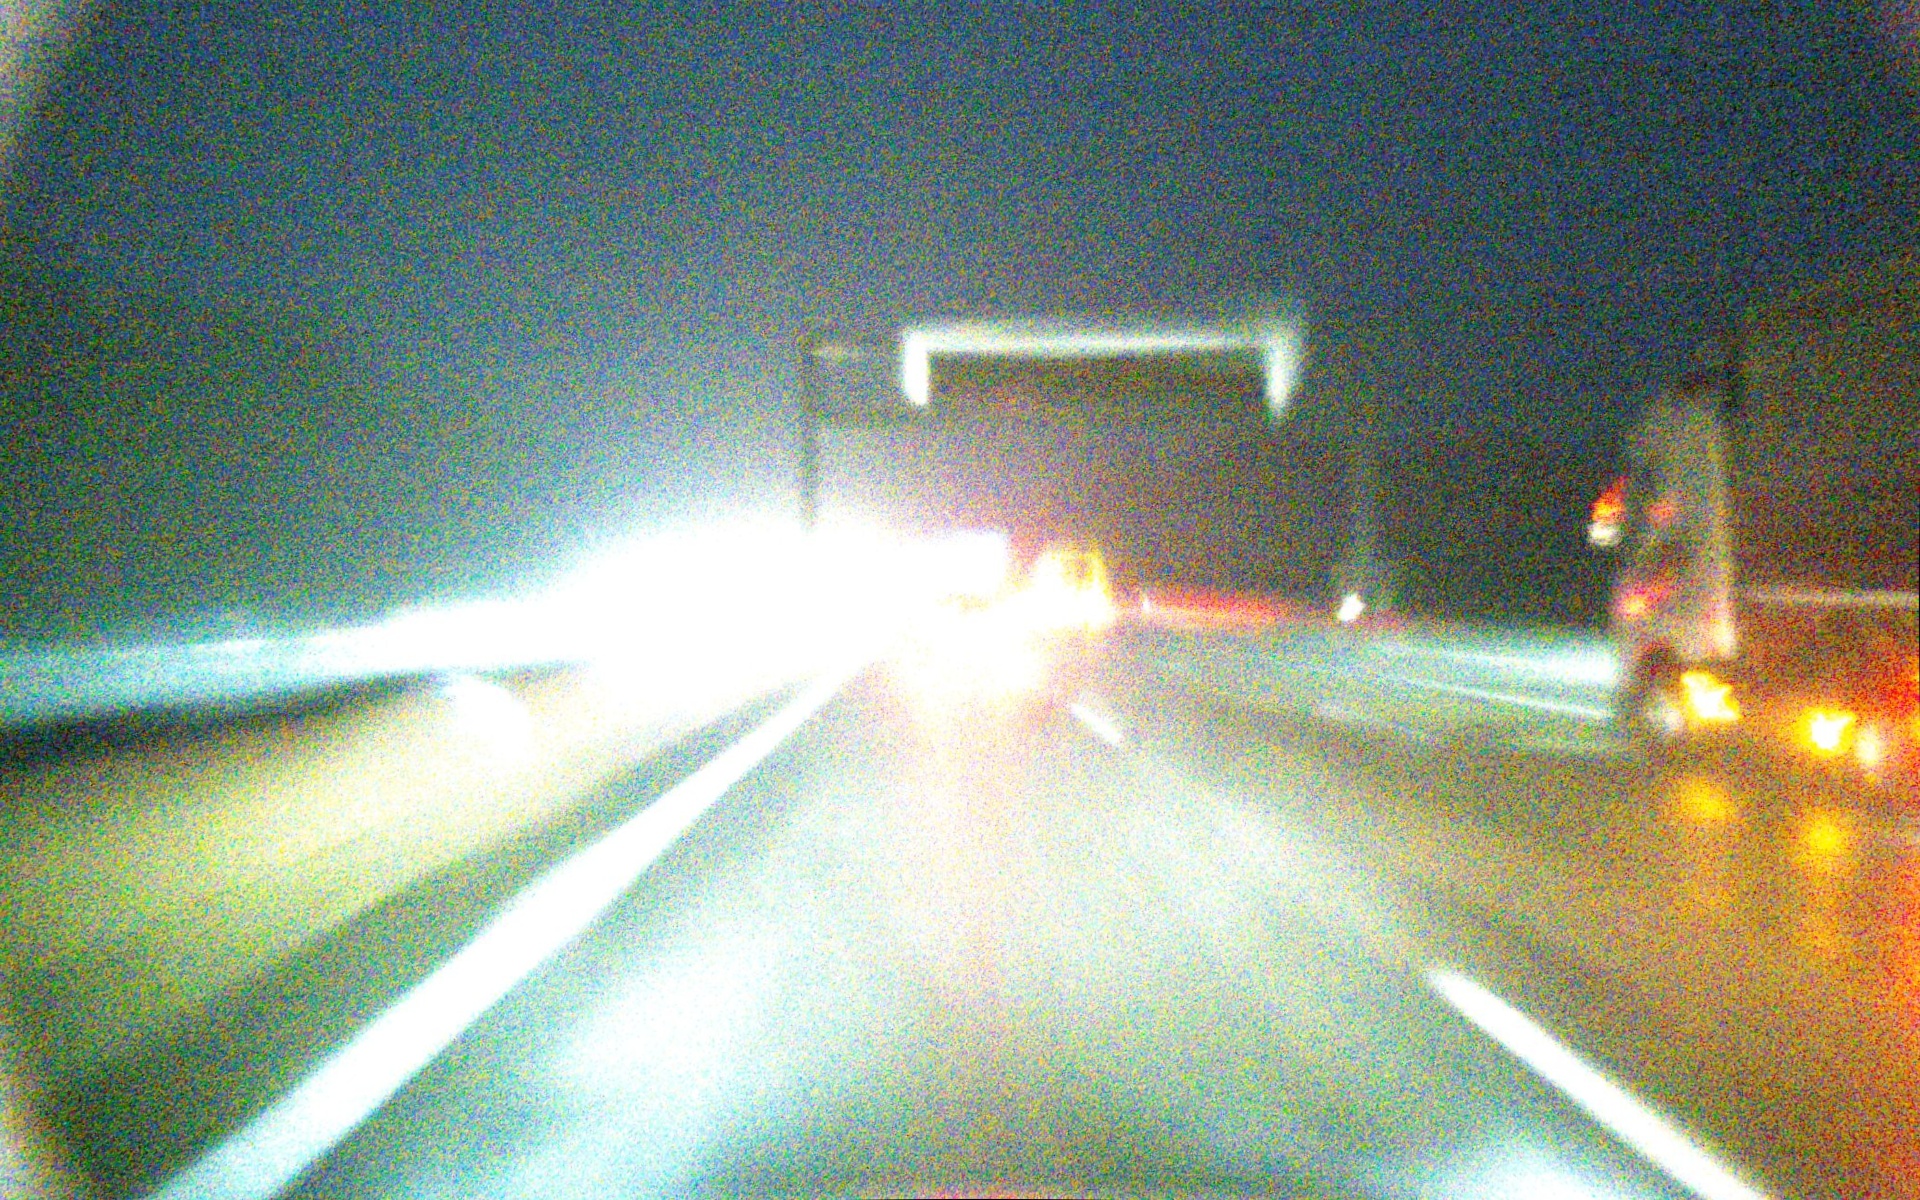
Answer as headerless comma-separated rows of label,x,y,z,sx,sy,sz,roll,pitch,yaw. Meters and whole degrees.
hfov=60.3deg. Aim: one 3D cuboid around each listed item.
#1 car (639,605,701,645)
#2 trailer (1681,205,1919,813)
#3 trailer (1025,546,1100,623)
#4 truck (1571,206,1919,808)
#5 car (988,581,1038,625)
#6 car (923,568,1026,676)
car,-13.011,1.101,74.564,1.953,1.692,4.808,-1,0,0
trailer,8.089,-0.639,7.716,2.844,4.180,14.484,-1,0,-1
trailer,5.959,-0.813,98.677,2.980,4.180,13.821,-2,0,-2
truck,7.988,-0.688,14.533,2.844,4.180,6.029,-1,0,-1
car,2.586,0.178,81.576,1.954,2.049,3.996,-2,0,-4
car,0.263,0.440,33.433,1.953,2.049,3.999,0,-1,-1
